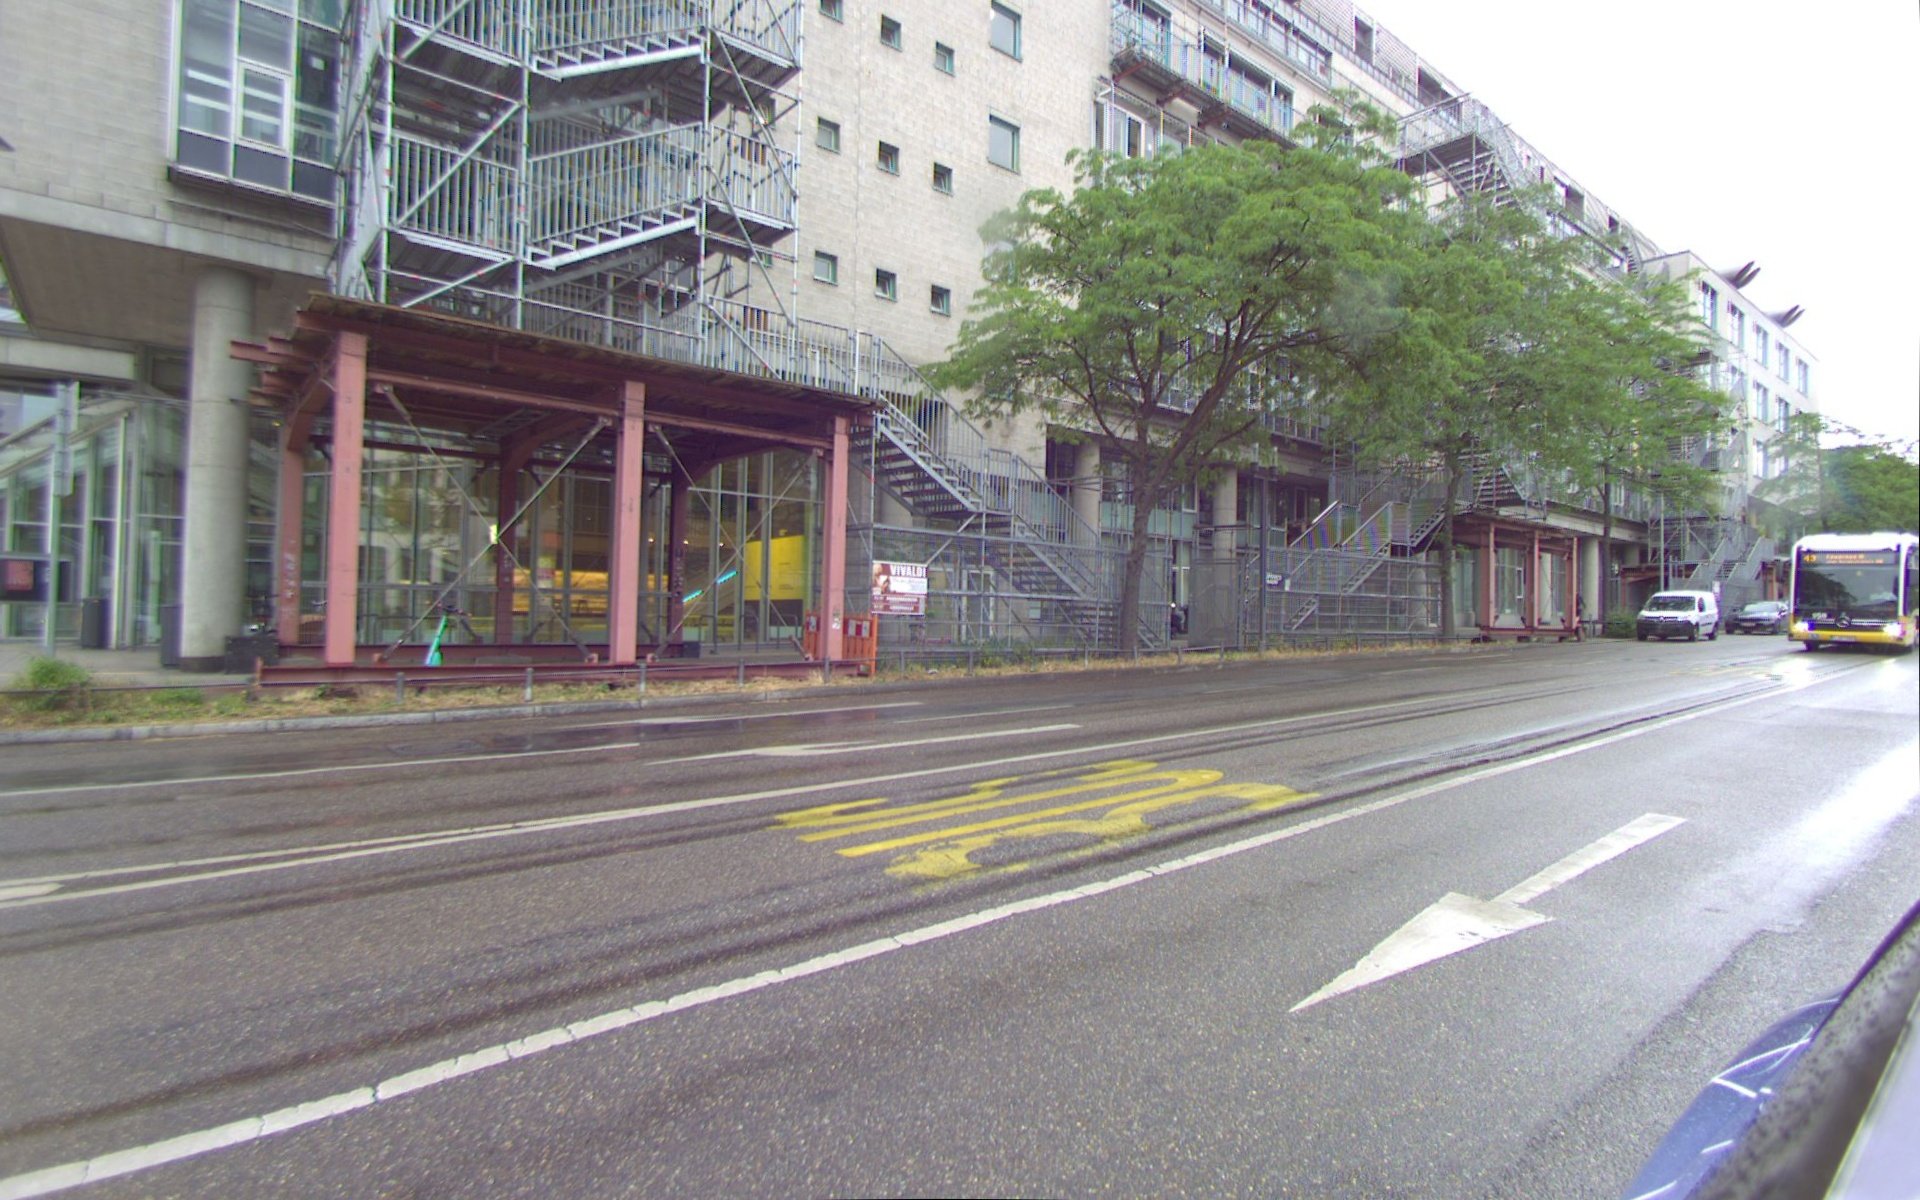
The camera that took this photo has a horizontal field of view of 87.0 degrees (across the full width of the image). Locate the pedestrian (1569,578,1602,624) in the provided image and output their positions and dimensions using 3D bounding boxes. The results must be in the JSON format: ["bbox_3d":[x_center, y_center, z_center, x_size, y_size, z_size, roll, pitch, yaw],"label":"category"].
[{"bbox_3d":[28.354,0.042,45.887,1.021,2.039,1.009,0,0,-41],"label":"pedestrian"}]

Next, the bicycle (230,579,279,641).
[{"bbox_3d":[-14.457,0.190,20.720,0.577,1.209,1.611,0,0,-44],"label":"bicycle"}]

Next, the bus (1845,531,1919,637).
[{"bbox_3d":[35.051,-0.578,36.886,9.541,3.483,2.888,-1,0,-41],"label":"bus"}]

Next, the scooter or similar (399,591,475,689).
[{"bbox_3d":[-6.946,0.489,13.406,0.576,1.209,1.782,1,0,-38],"label":"scooter or similar"}]

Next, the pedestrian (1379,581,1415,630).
[{"bbox_3d":[16.581,0.186,38.401,0.831,1.822,1.009,0,0,-39],"label":"pedestrian"}]

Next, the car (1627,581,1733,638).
[{"bbox_3d":[26.058,0.296,36.583,4.254,1.930,2.211,-1,0,-41],"label":"car"}]

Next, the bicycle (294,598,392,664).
[{"bbox_3d":[-11.994,0.577,19.730,0.580,1.209,1.602,0,0,24],"label":"bicycle"}]

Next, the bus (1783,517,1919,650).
[{"bbox_3d":[27.819,-0.484,30.622,9.586,3.494,2.888,-1,0,-41],"label":"bus"}]

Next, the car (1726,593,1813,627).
[{"bbox_3d":[35.083,0.407,43.811,4.733,1.353,2.145,-1,1,-41],"label":"car"}]
